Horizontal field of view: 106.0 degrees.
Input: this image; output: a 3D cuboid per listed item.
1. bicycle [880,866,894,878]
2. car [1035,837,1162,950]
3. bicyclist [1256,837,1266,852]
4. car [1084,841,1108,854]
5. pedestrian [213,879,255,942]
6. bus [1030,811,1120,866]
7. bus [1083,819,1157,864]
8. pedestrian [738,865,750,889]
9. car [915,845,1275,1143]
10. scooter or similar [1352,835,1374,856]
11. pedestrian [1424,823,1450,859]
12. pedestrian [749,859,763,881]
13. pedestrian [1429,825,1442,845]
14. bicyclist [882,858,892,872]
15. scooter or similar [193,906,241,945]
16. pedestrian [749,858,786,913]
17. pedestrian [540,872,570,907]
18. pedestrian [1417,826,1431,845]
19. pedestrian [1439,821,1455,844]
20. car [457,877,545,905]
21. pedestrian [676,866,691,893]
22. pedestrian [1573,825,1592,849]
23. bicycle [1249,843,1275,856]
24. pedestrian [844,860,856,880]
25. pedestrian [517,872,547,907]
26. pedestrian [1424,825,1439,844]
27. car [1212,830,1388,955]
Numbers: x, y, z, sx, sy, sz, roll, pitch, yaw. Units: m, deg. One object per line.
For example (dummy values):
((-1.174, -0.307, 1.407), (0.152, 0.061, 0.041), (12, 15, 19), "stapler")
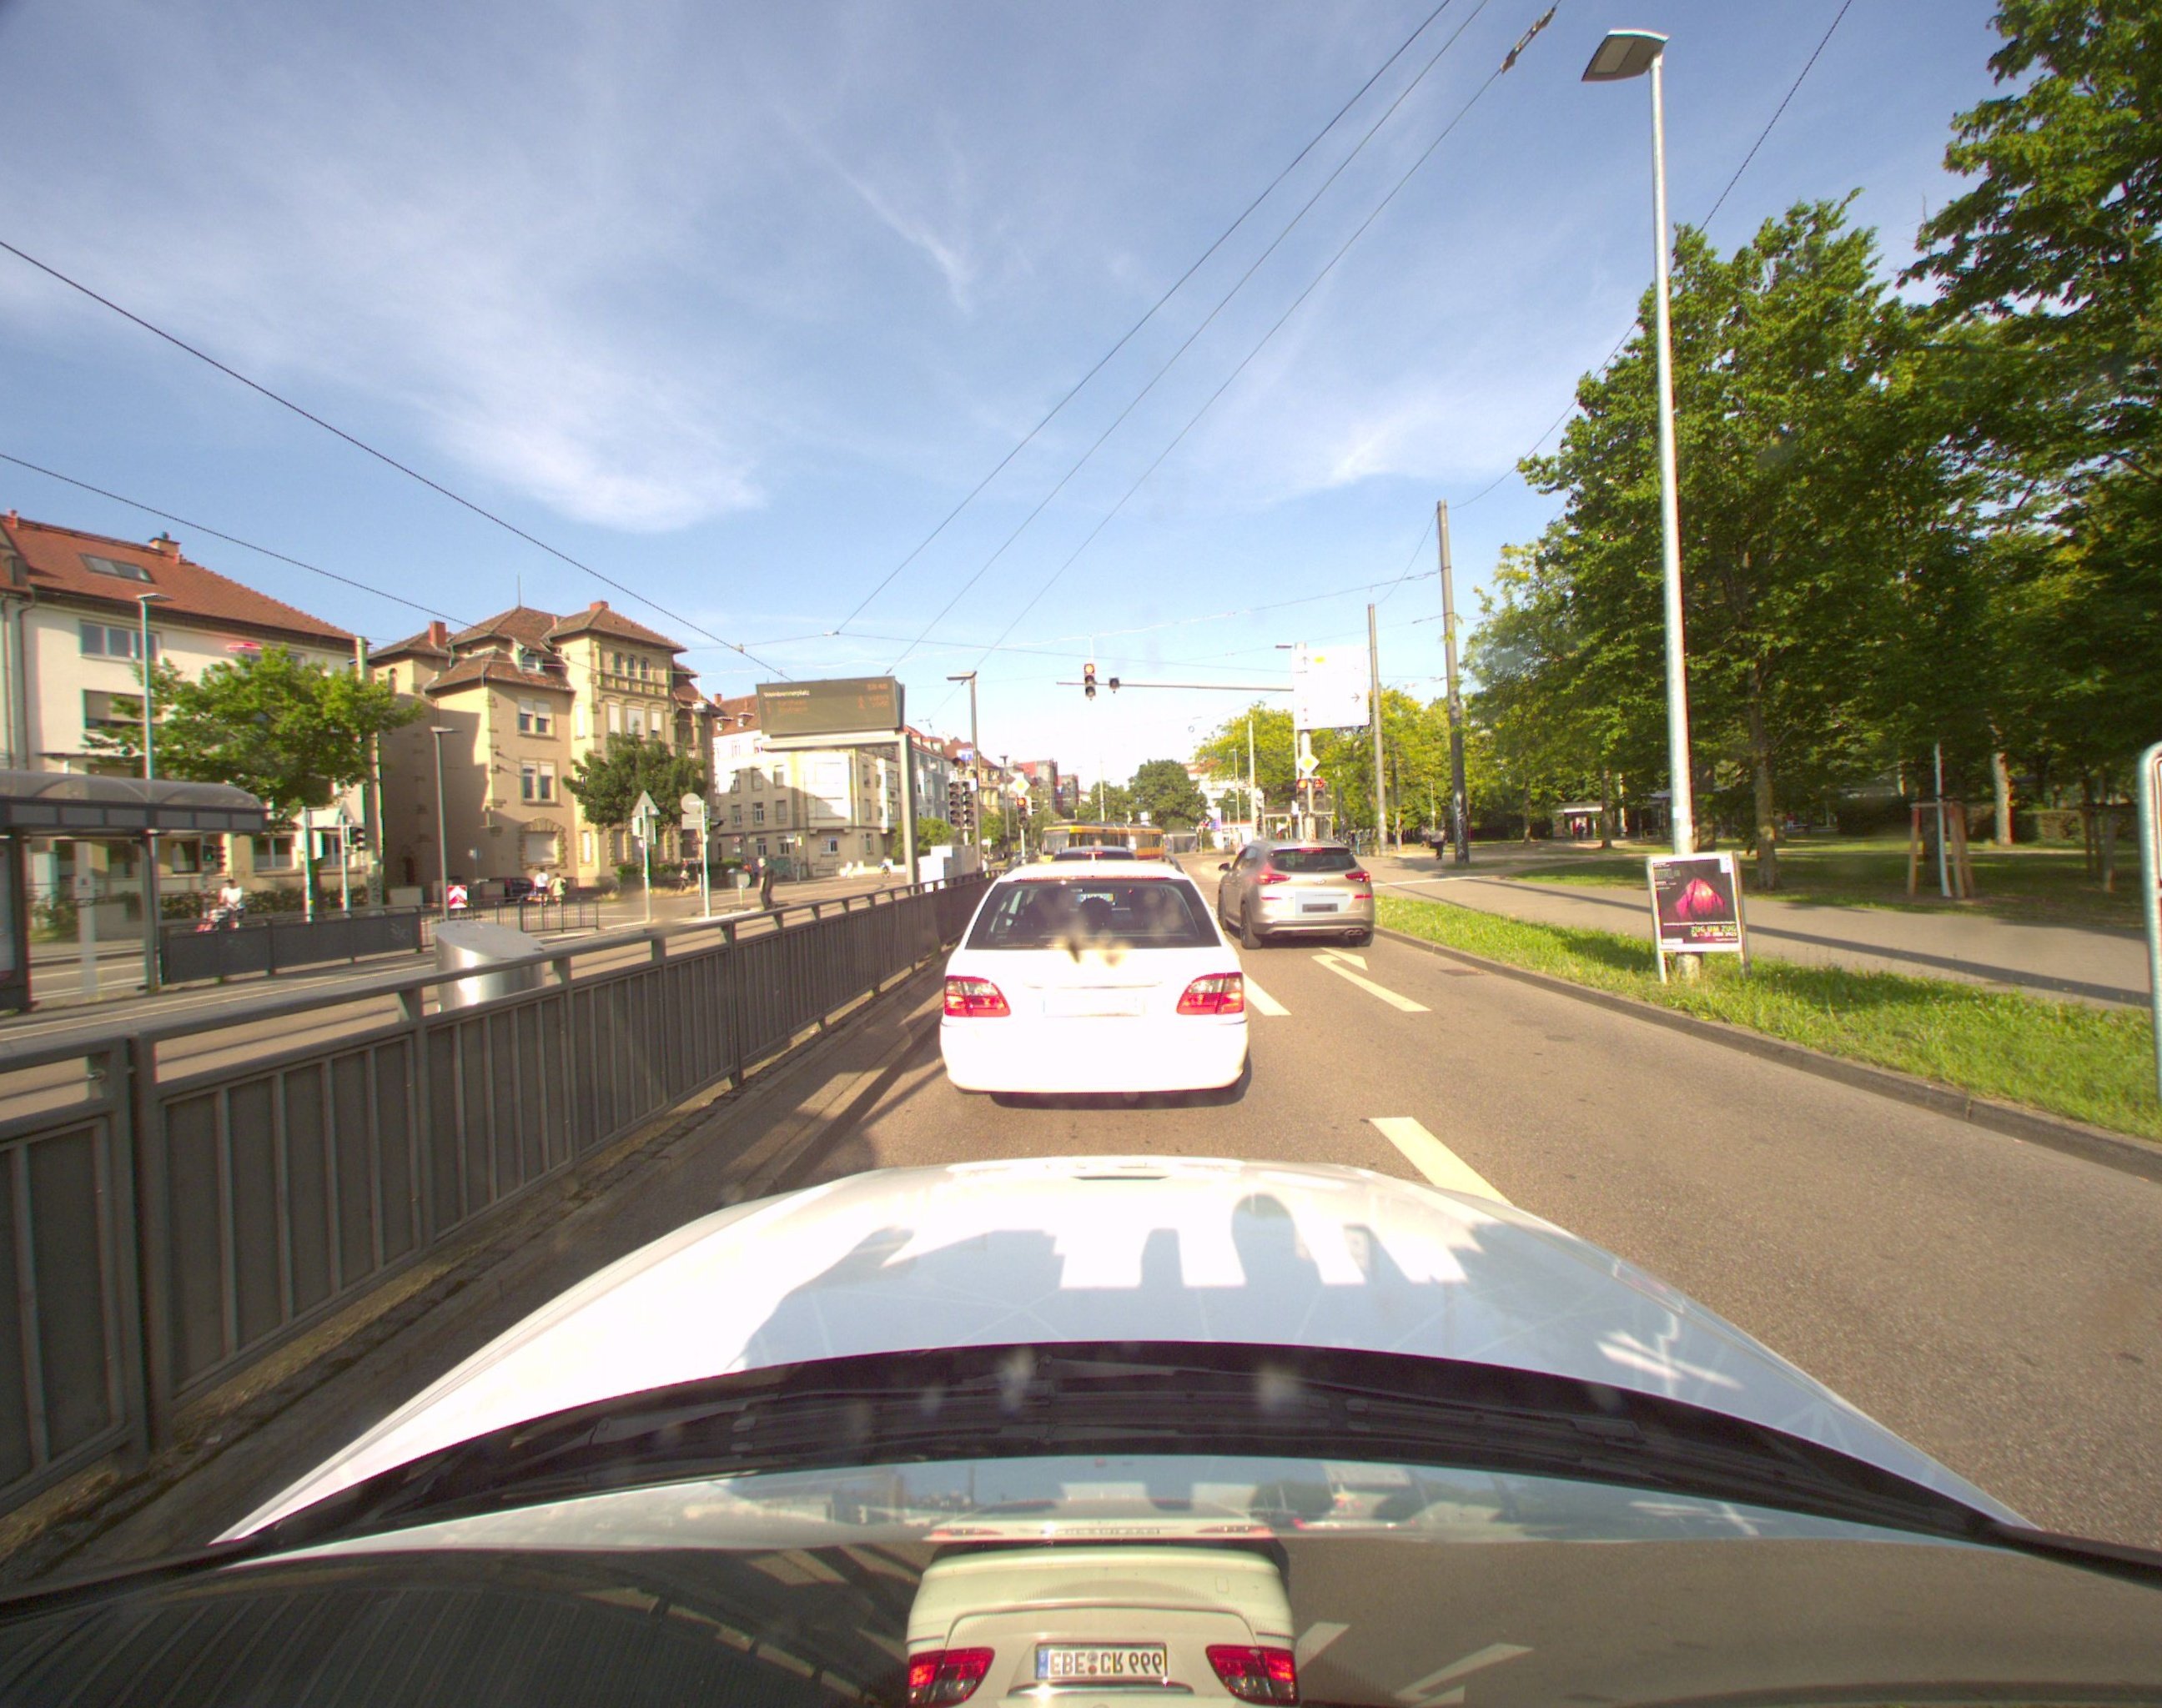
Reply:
((-14.756, 1.385, 62.005), (0.524, 0.834, 1.687), (-3, 0, 2), "bicycle")
((0.316, 0.576, 13.921), (1.878, 1.651, 3.649), (-1, 0, 2), "car")
((18.075, -0.949, 81.714), (0.856, 1.481, 0.791), (-3, 0, 9), "bicyclist")
((2.573, -1.040, 135.913), (3.973, 2.014, 2.000), (-1, 0, 0), "car")
((-24.577, 1.631, 23.640), (0.550, 1.746, 0.756), (-3, 0, -27), "pedestrian")
((-0.124, -1.002, 60.061), (3.084, 3.606, 12.428), (-1, 0, 17), "bus")
((3.721, -0.991, 72.027), (3.083, 3.606, 12.651), (-1, 0, 19), "bus")
((-21.057, 1.430, 50.881), (0.530, 1.500, 0.391), (-3, 0, 16), "pedestrian")
((0.123, 0.700, 5.943), (1.789, 1.470, 3.649), (-1, 0, 2), "car")
((16.029, -0.486, 46.291), (0.421, 1.117, 1.322), (-3, 0, -18), "scooter or similar")
((16.899, -0.622, 38.625), (0.758, 1.636, 0.800), (-3, 0, -38), "pedestrian")
((-30.203, 1.487, 75.745), (0.768, 2.013, 0.790), (-3, 0, 17), "pedestrian")
((27.635, -1.504, 63.424), (0.805, 1.487, 0.705), (-3, 0, 26), "pedestrian")
((-14.785, 0.849, 62.130), (0.511, 1.044, 0.680), (-3, 0, 1), "bicyclist")
((-24.197, 1.982, 22.828), (0.559, 0.988, 1.014), (-3, 0, -26), "scooter or similar")
((-9.717, 0.968, 25.254), (0.798, 1.645, 0.748), (-3, 0, -42), "pedestrian")
((-24.664, 1.664, 38.179), (0.822, 1.552, 0.786), (-3, 0, 23), "pedestrian")
((27.120, -1.443, 64.339), (0.820, 1.487, 0.692), (-3, 0, -40), "pedestrian")
((28.982, -1.683, 64.552), (0.797, 1.785, 0.838), (-3, 0, -3), "pedestrian")
((-29.529, 1.851, 41.472), (4.066, 1.310, 1.774), (-1, 0, 23), "car")
((-22.773, 1.437, 46.688), (0.434, 1.500, 0.551), (-3, 0, 16), "pedestrian")
((35.446, -1.226, 57.556), (0.831, 1.636, 0.804), (-3, 0, 8), "pedestrian")
((18.192, -0.442, 81.700), (2.467, 1.213, 0.809), (-3, 0, 9), "bicycle")
((-18.306, 1.274, 64.538), (0.626, 1.541, 0.711), (-3, 0, 1), "pedestrian")
((-25.680, 1.659, 38.090), (0.822, 1.552, 0.786), (-3, 0, 23), "pedestrian")
((27.967, -1.528, 64.929), (0.813, 1.487, 0.698), (-3, 0, -9), "pedestrian")
((3.329, 0.525, 13.125), (1.878, 1.651, 3.649), (-3, 0, 2), "car")
